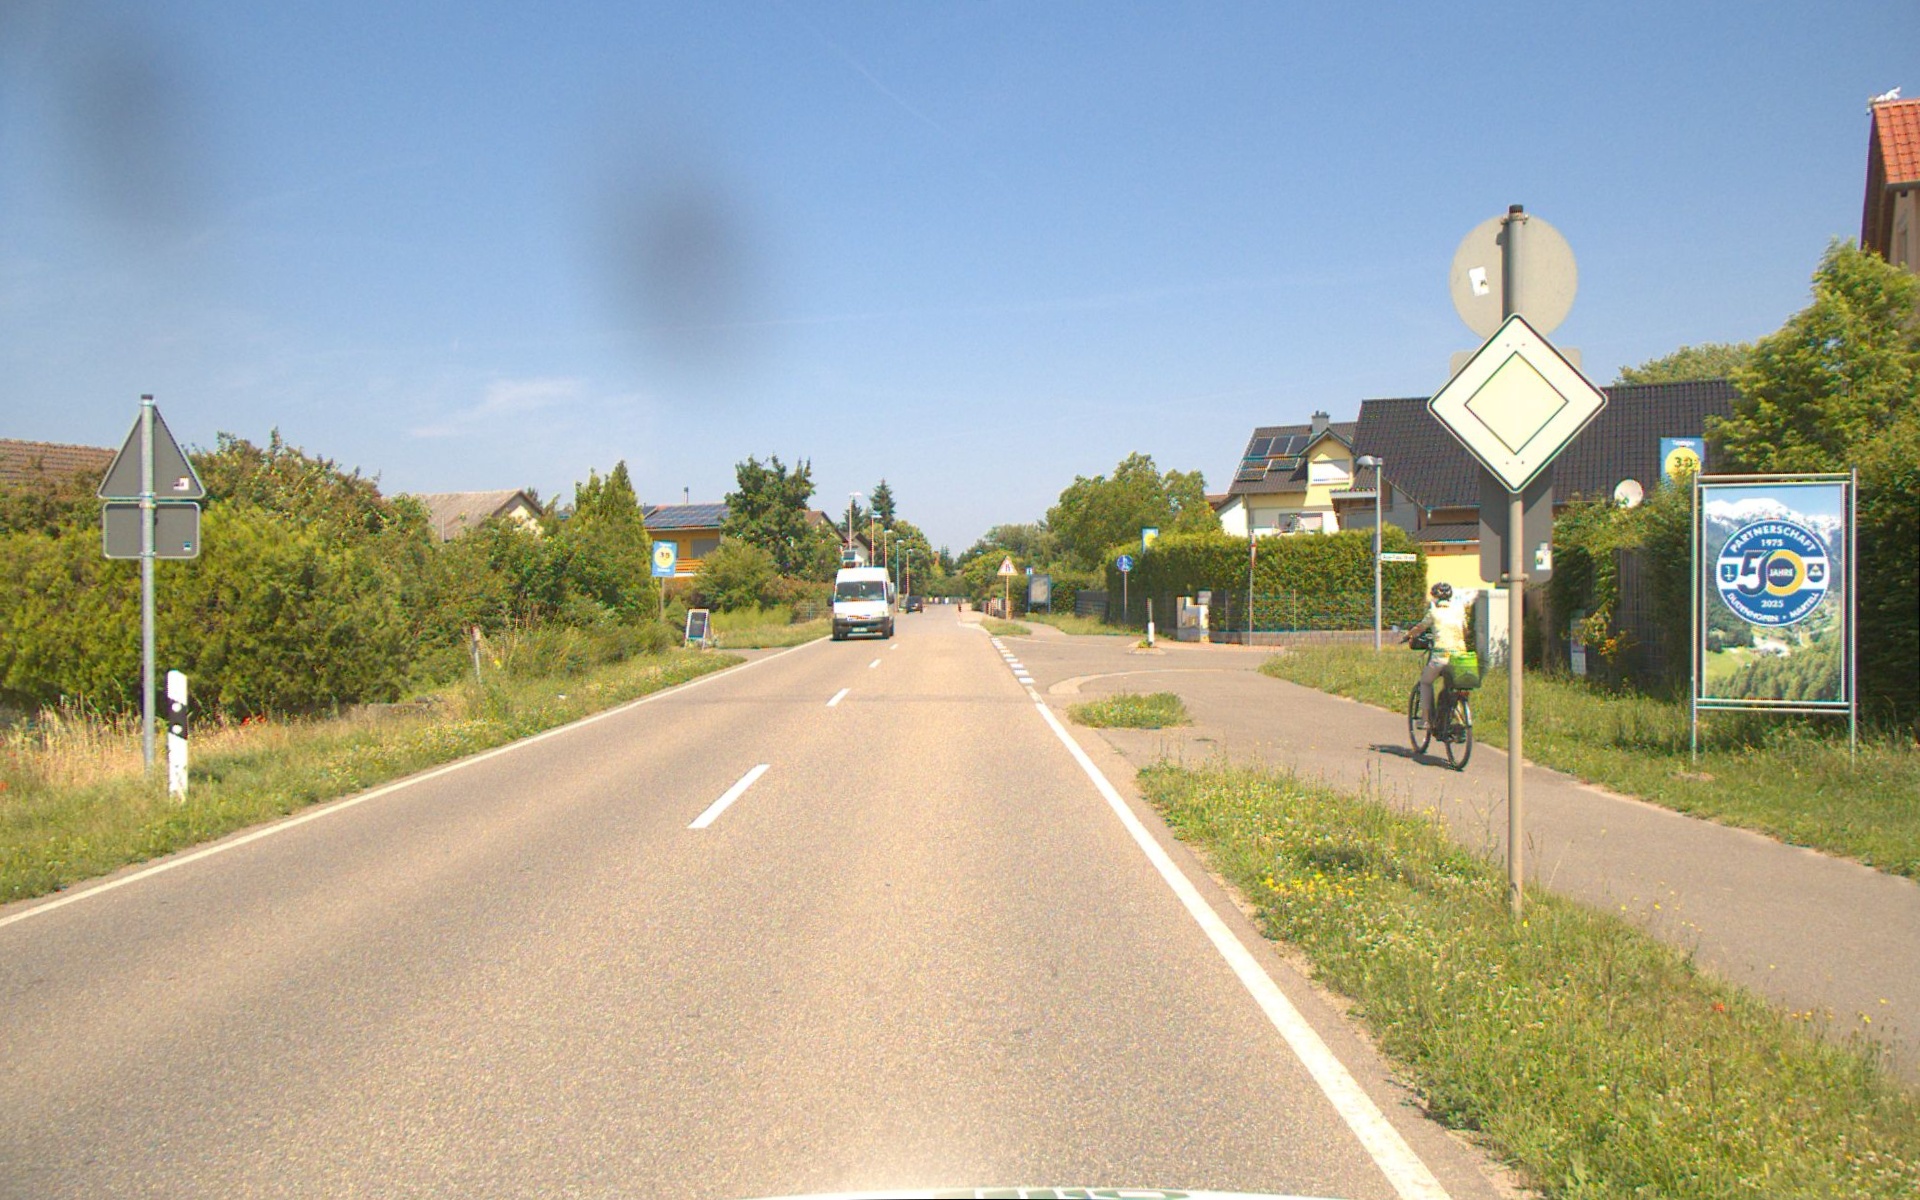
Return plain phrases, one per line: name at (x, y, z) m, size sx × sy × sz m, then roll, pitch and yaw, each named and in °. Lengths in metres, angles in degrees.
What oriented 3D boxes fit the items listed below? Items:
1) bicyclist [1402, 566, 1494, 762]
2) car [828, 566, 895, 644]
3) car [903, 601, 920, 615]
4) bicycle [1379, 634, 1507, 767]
bicyclist at (4.916, 0.622, 16.706) m, size 0.632 × 1.922 × 0.861 m, roll 1°, pitch 1°, yaw -1°
car at (-3.446, 0.140, 59.013) m, size 2.035 × 2.586 × 5.872 m, roll -2°, pitch 0°, yaw -1°
car at (-5.265, 0.894, 179.503) m, size 1.723 × 1.409 × 3.452 m, roll -2°, pitch 0°, yaw -1°
bicycle at (4.898, 0.984, 16.921) m, size 0.598 × 1.179 × 2.274 m, roll 1°, pitch 1°, yaw -1°
